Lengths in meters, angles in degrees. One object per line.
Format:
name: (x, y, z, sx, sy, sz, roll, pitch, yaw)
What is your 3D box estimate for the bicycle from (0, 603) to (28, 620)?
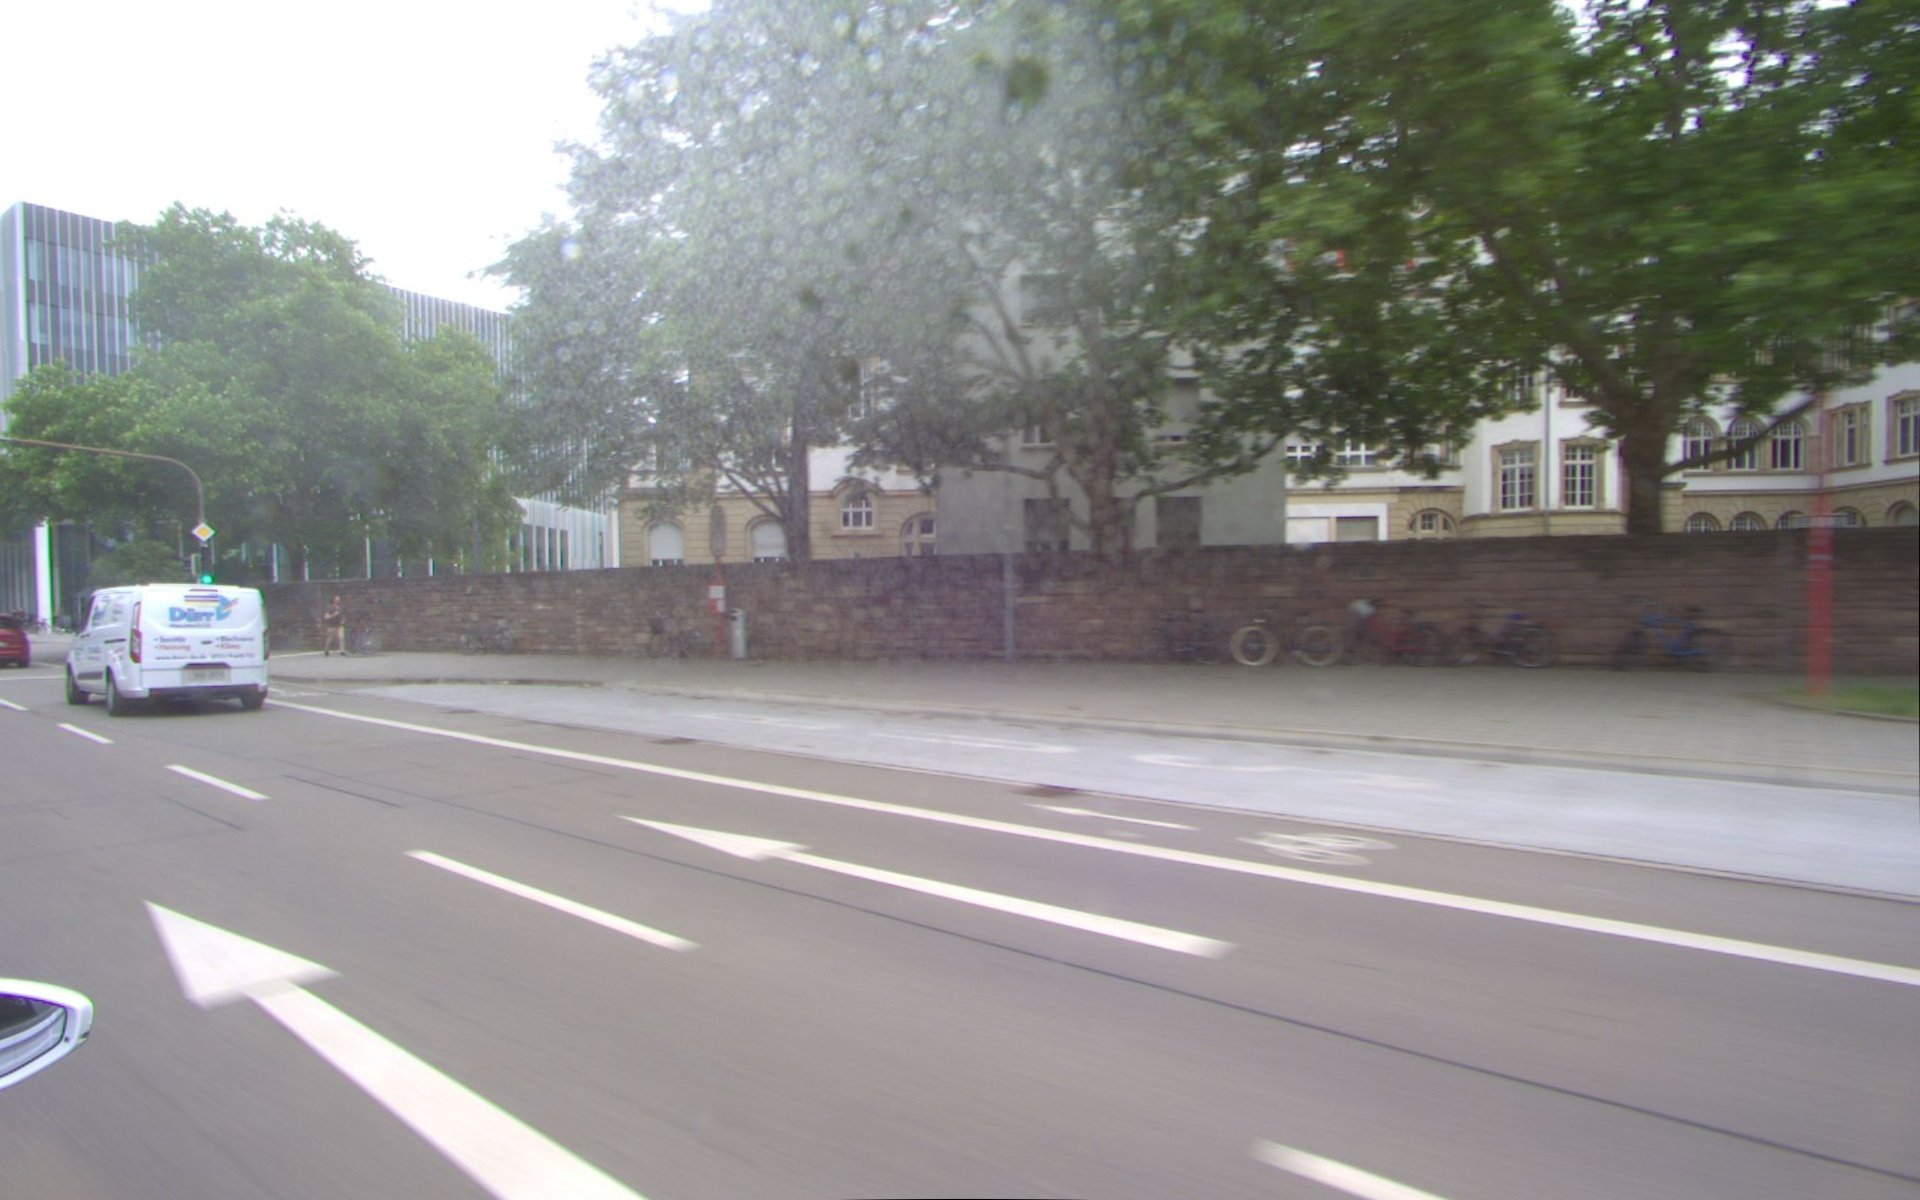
bicycle: (-70.240, 0.861, 74.197, 0.559, 1.228, 1.777, -1, 2, 6)

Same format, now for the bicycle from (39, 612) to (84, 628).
bicycle: (-54.098, 1.205, 60.331, 0.685, 0.911, 1.888, 0, 2, 18)

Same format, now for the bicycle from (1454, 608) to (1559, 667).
bicycle: (9.174, 0.615, 16.852, 1.499, 0.955, 0.416, 0, 3, 22)

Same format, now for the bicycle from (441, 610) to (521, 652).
bicycle: (-13.305, 0.851, 27.804, 1.937, 1.088, 0.939, -1, 3, 25)

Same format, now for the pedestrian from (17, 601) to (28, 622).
pedestrian: (-63.745, 0.789, 68.072, 0.468, 1.380, 0.441, -3, 3, -41)

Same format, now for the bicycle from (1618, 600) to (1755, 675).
bicycle: (11.370, 0.573, 15.725, 1.625, 1.120, 0.597, 0, 2, 19)

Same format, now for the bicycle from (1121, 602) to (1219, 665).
bicycle: (3.917, 0.625, 18.786, 1.758, 1.115, 0.720, -1, 2, 10)

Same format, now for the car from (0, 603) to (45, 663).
car: (-28.401, 0.937, 29.187, 3.701, 1.645, 1.942, 1, 0, 38)

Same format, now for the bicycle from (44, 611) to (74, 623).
bicycle: (-63.222, 1.195, 70.248, 0.558, 0.759, 1.474, 1, 2, 36)

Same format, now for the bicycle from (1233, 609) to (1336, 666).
bicycle: (5.864, 0.660, 18.092, 1.740, 0.964, 0.653, 0, 2, 22)

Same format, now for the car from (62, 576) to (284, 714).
car: (-13.102, 0.672, 16.599, 4.289, 1.998, 1.959, 0, -1, 38)

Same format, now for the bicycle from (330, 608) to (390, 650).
bicycle: (-18.366, 0.883, 30.651, 1.927, 1.190, 0.800, 0, 4, 35)

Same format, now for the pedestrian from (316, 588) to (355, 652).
pedestrian: (-18.483, 0.572, 29.622, 1.020, 1.847, 0.628, 1, 3, 39)

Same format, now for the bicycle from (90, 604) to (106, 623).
bicycle: (-58.419, 0.918, 67.847, 0.520, 1.270, 1.655, -3, 2, -32)

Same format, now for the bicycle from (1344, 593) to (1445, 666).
bicycle: (7.559, 0.506, 17.497, 1.599, 1.238, 0.499, 0, 3, 22)

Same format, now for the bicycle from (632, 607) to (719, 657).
bicycle: (-6.928, 0.773, 24.387, 1.892, 1.143, 0.848, 0, 3, 25)
